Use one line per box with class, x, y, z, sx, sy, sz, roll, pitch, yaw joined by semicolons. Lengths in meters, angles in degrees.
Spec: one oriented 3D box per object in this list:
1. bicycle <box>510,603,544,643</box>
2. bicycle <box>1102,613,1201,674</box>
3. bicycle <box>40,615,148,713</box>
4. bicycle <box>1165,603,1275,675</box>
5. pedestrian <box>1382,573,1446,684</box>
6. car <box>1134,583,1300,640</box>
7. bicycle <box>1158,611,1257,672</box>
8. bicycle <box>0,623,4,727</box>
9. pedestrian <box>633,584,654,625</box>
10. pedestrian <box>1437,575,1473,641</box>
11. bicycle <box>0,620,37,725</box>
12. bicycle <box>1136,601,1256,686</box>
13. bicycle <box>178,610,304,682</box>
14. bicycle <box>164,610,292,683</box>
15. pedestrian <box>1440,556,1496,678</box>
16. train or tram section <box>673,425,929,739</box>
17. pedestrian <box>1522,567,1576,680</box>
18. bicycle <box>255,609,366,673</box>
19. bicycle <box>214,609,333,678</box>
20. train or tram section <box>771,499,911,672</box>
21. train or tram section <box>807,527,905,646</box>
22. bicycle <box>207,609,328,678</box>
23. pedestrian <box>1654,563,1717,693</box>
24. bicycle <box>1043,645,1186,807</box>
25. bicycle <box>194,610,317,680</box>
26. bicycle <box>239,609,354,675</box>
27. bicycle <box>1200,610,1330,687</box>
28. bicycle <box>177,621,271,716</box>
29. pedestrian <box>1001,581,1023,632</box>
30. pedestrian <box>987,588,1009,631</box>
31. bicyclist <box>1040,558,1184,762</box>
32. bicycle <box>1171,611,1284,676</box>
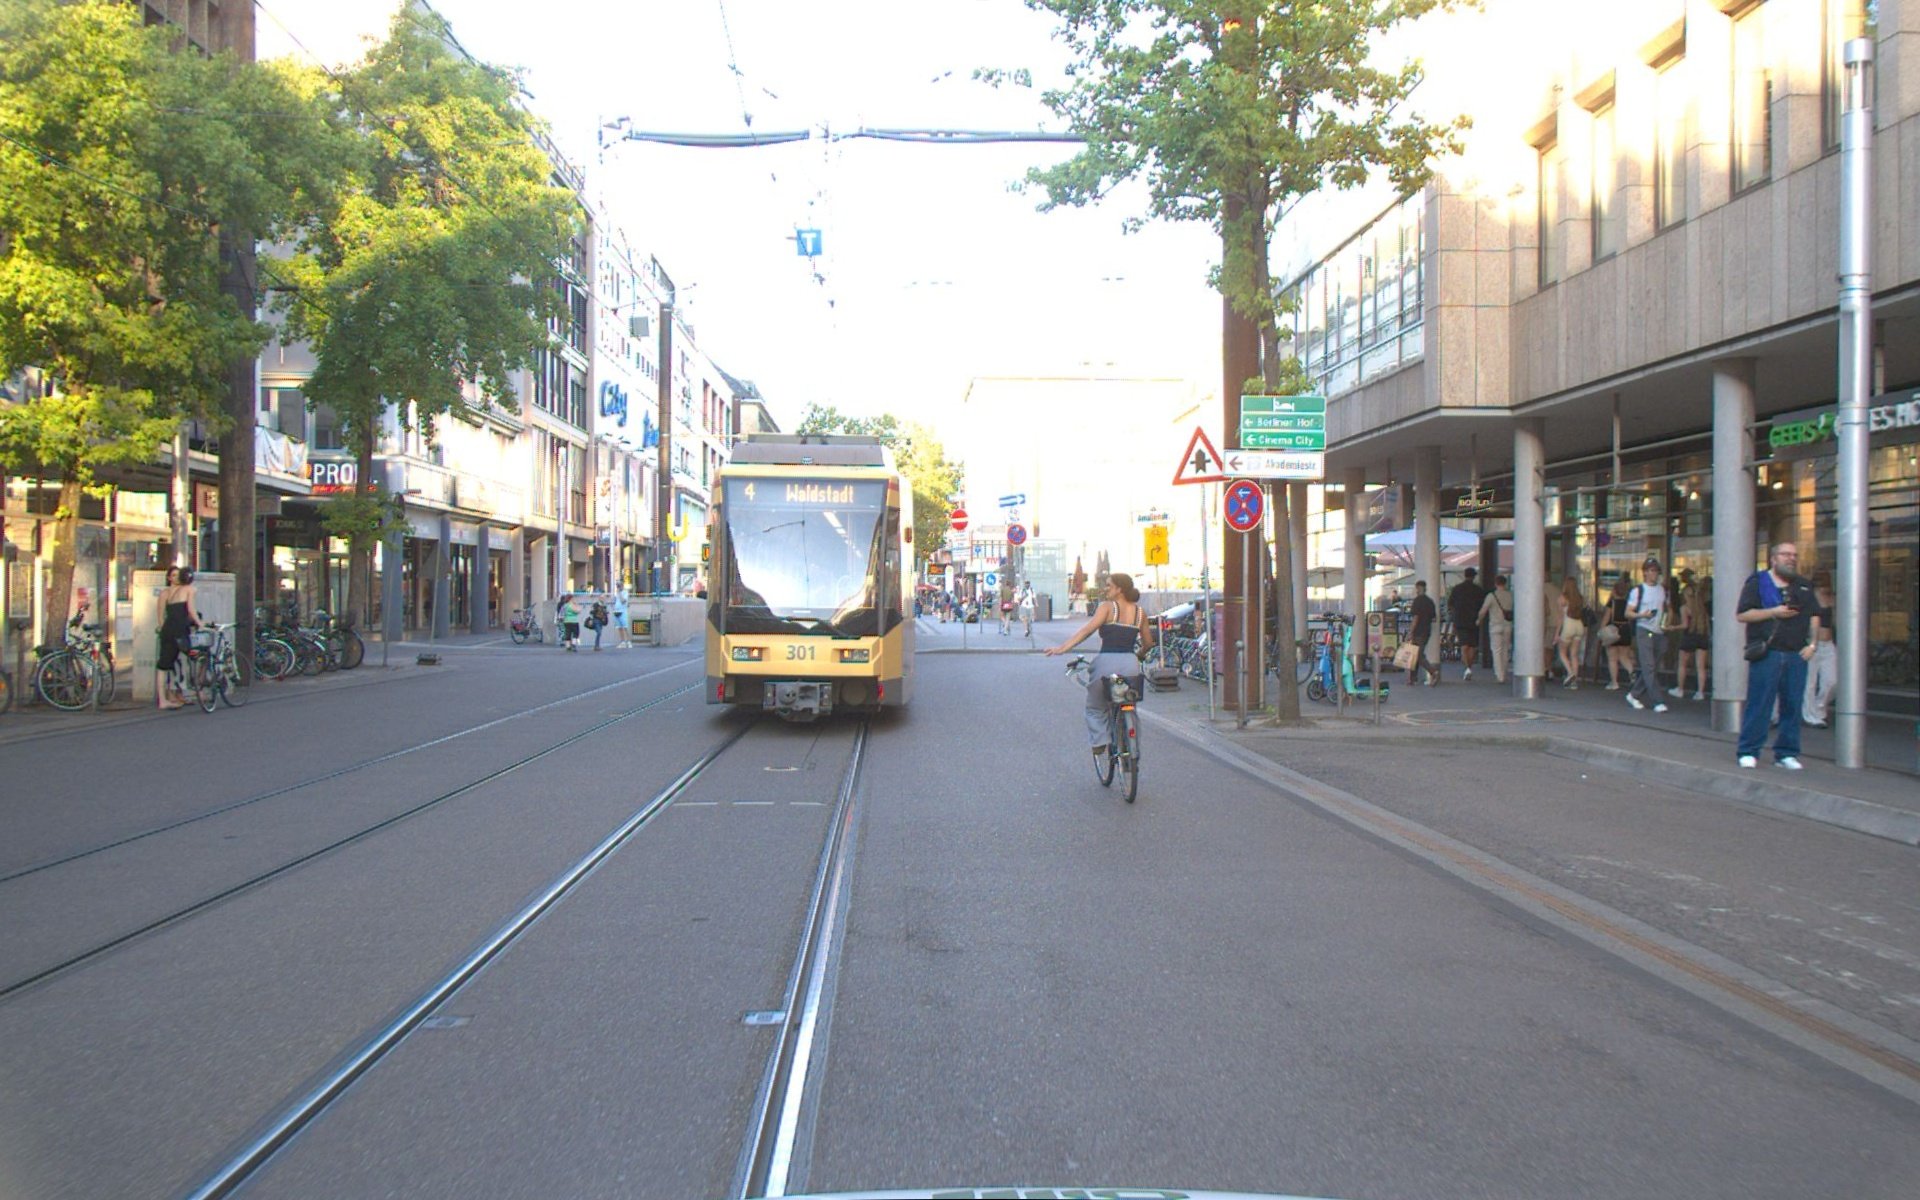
bicycle;-13.180;0.693;50.373;0.488;1.127;1.801;0;1;3
bicycle;3.754;0.842;32.481;1.816;1.128;0.666;-1;0;-5
bicycle;-10.276;0.740;19.686;0.478;1.063;1.776;1;1;-5
bicycle;4.874;0.720;31.089;1.878;1.244;0.762;-2;0;-7
pedestrian;7.294;0.448;26.620;0.748;1.749;0.923;-1;-1;-1
car;6.751;0.314;43.551;3.970;1.434;1.769;1;-1;-14
bicycle;4.889;0.816;32.719;1.816;1.128;0.666;-1;0;-5
bicycle;-10.888;0.759;17.007;1.738;1.090;0.488;2;0;-8
pedestrian;-12.421;0.177;64.912;0.623;1.616;0.595;1;-1;-45
pedestrian;14.024;0.216;46.863;0.791;1.855;0.806;0;1;2
bicycle;-10.902;0.745;17.660;1.738;1.090;0.488;2;0;-8
bicycle;4.039;0.725;28.315;1.878;1.356;0.724;-2;0;-7
bicycle;-11.367;0.718;26.174;1.736;1.063;0.489;2;0;-2
bicycle;-11.353;0.716;25.683;1.736;1.063;0.489;2;0;-2
pedestrian;8.708;0.287;28.375;0.672;2.049;0.782;-1;0;-2
train or tram section;-2.022;-0.236;25.101;2.744;3.377;14.501;0;0;-2
pedestrian;9.942;0.393;27.938;0.649;1.881;0.719;-1;0;3
bicycle;-11.459;0.726;29.206;1.736;1.063;0.489;2;0;-2
bicycle;-11.435;0.721;27.564;1.736;1.063;0.489;2;0;-2
train or tram section;-2.633;-0.331;39.589;2.744;3.377;14.501;0;0;-2
train or tram section;-3.252;-0.428;54.090;2.744;3.377;14.501;0;0;-2
bicycle;-11.430;0.720;27.322;1.736;1.063;0.489;2;0;-2
pedestrian;10.007;0.378;22.833;0.559;1.762;0.617;-1;0;-3
bicycle;1.182;0.955;13.154;0.799;1.092;2.112;2;0;-3
bicycle;-11.386;0.719;26.745;1.736;1.063;0.489;2;0;-2
bicycle;-11.473;0.724;28.624;1.736;1.063;0.489;2;0;-2
bicycle;5.046;0.796;27.398;1.958;1.175;0.724;-2;0;-7
bicycle;-8.978;0.815;20.240;0.478;1.063;1.776;1;1;-5
pedestrian;1.785;0.222;57.123;0.703;1.756;0.709;0;-1;-3
pedestrian;1.657;0.389;71.925;0.722;1.855;0.816;0;0;-17
bicyclist;1.184;0.458;13.078;0.977;1.528;0.856;2;0;-3
bicycle;4.898;0.794;30.343;1.878;1.096;0.762;-2;0;-7
